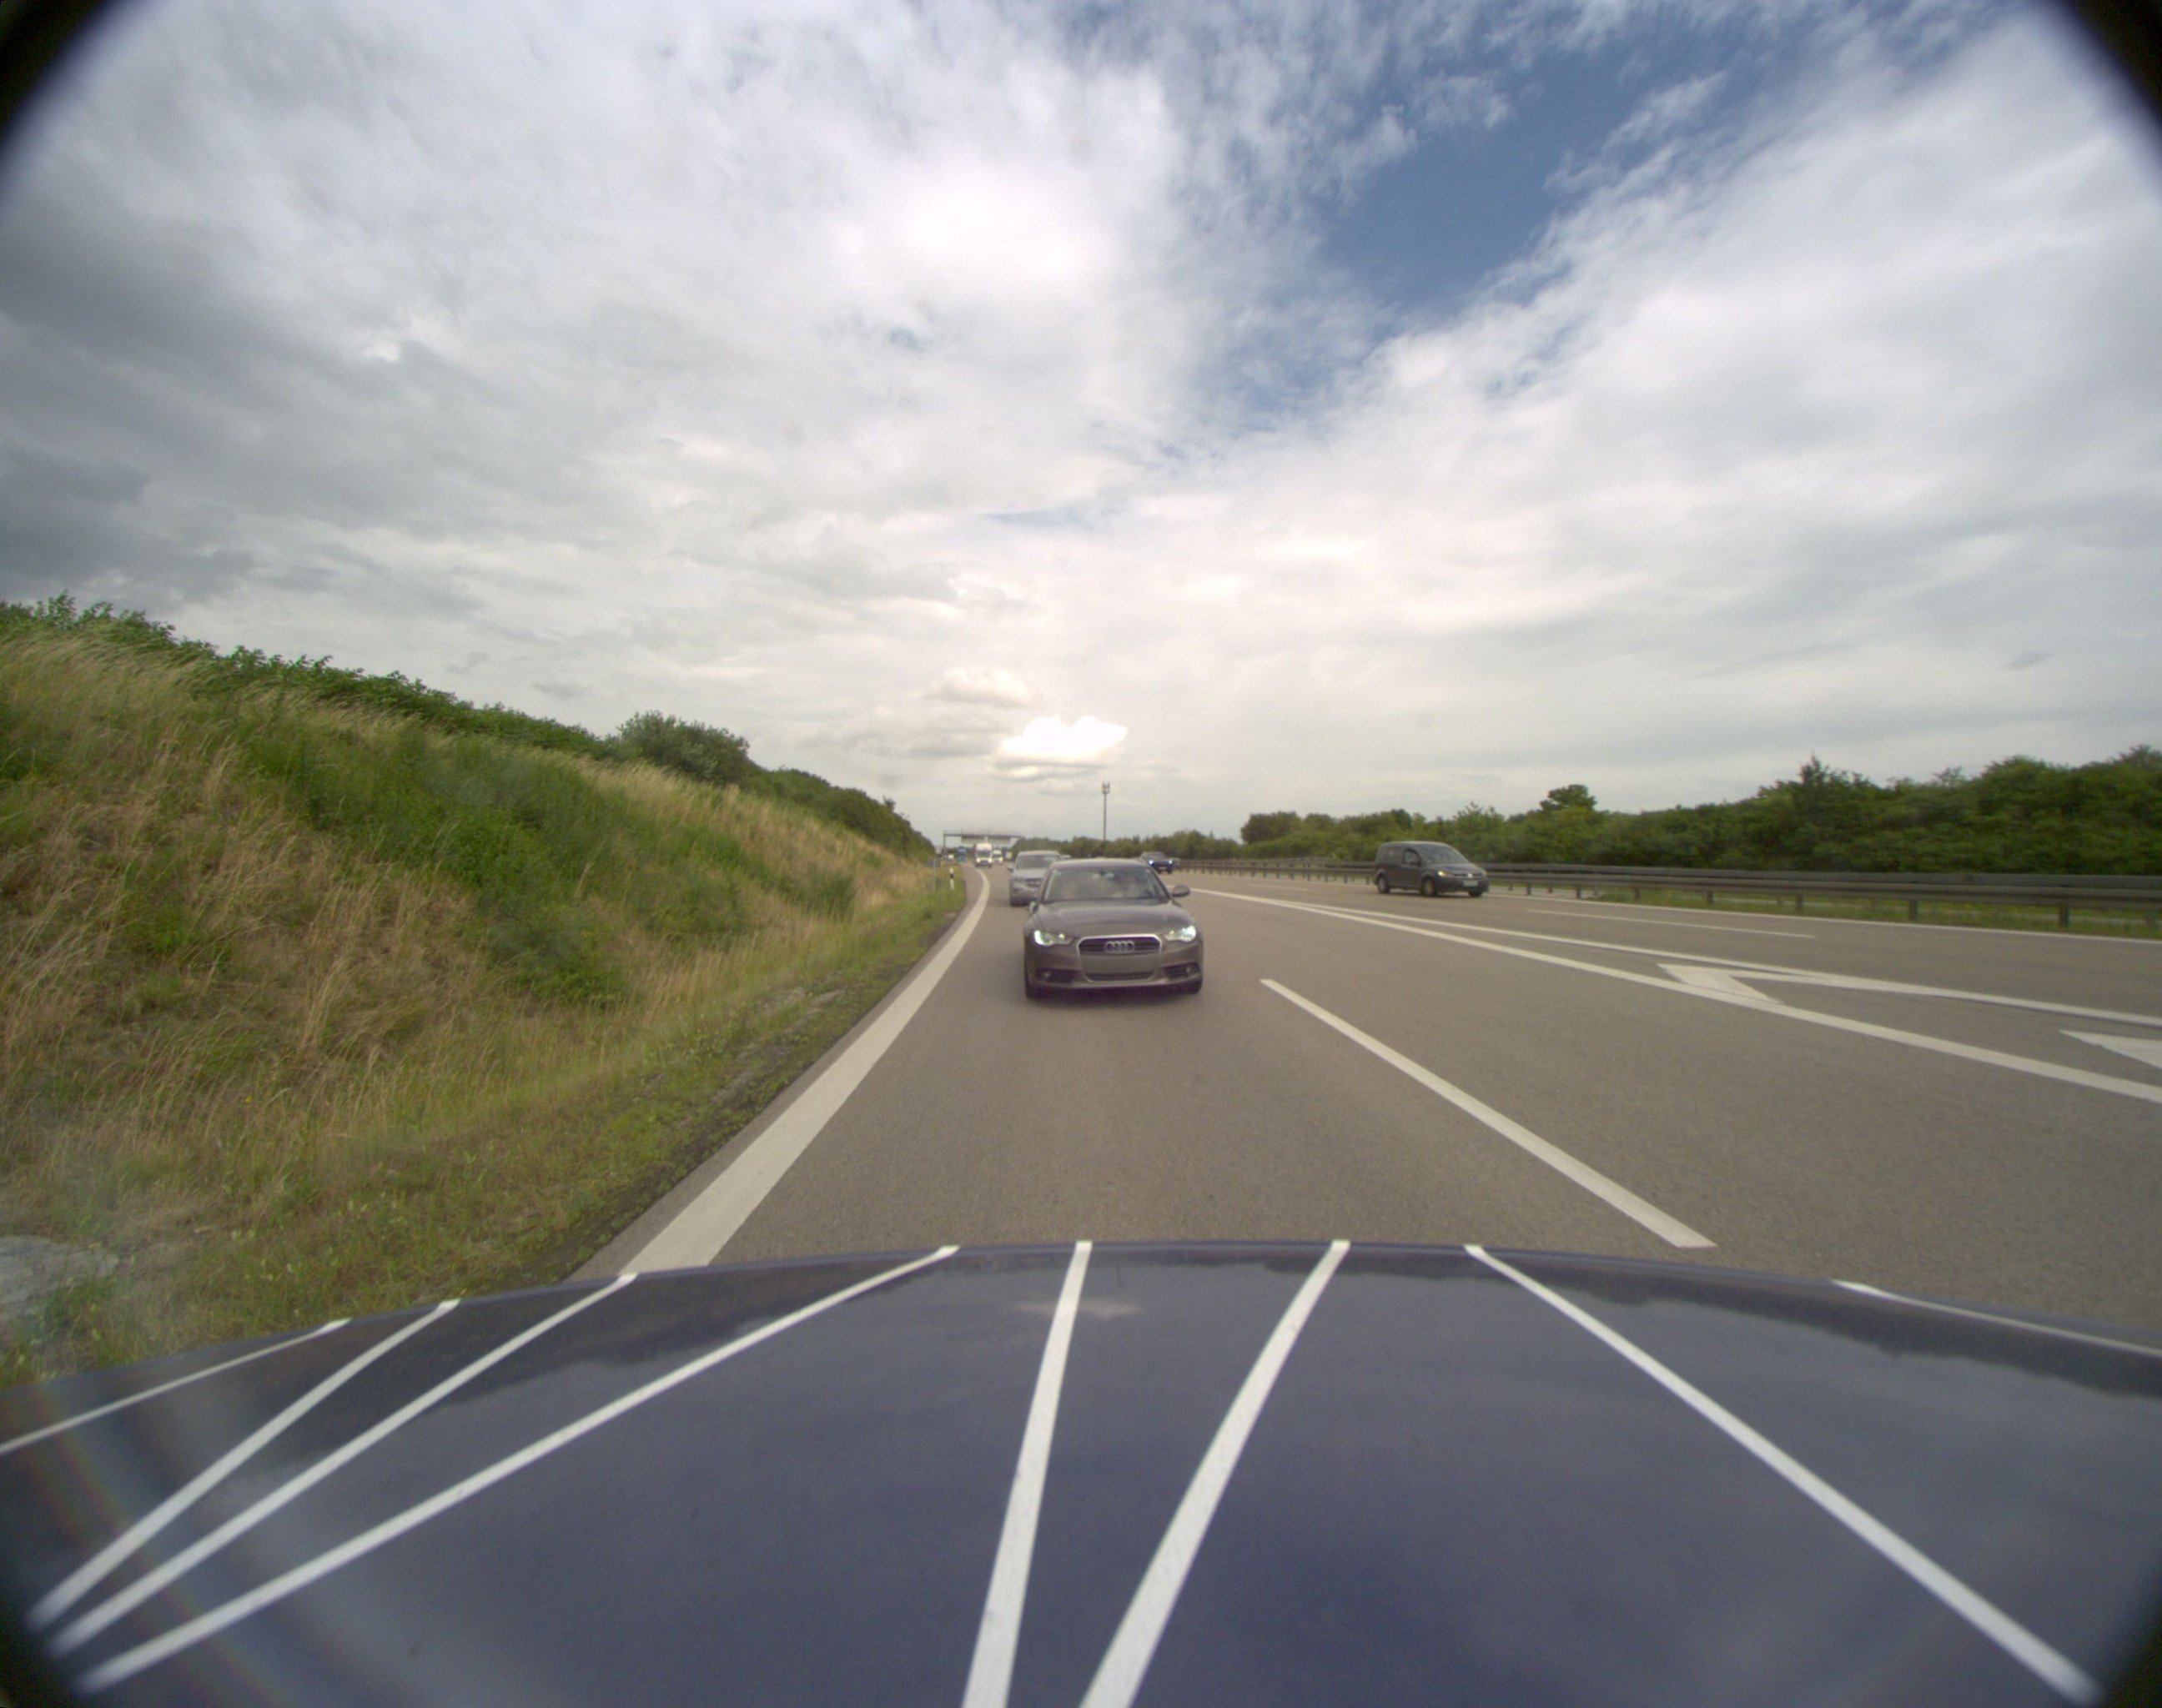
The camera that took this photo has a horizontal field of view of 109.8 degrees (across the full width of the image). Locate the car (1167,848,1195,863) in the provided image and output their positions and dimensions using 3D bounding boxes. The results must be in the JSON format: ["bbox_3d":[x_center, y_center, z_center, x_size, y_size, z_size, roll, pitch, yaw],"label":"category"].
[{"bbox_3d":[11.270,0.141,85.538,2.000,1.674,3.996,-1,0,-10],"label":"car"}]

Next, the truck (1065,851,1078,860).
[{"bbox_3d":[-2.042,0.271,163.354,2.000,2.002,4.715,-1,0,-8],"label":"truck"}]

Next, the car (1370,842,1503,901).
[{"bbox_3d":[11.464,0.525,24.875,1.851,1.748,4.332,-1,0,-9],"label":"car"}]

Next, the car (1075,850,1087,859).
[{"bbox_3d":[-0.093,0.087,172.905,2.000,2.002,3.996,-2,1,-10],"label":"car"}]

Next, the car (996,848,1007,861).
[{"bbox_3d":[-14.682,0.052,140.431,2.000,2.381,3.997,-2,1,-7],"label":"car"}]

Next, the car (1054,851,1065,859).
[{"bbox_3d":[-5.864,0.185,206.376,2.169,2.120,4.870,-1,0,-9],"label":"car"}]

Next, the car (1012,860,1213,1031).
[{"bbox_3d":[0.191,0.867,9.102,1.849,1.489,4.027,-1,0,-3],"label":"car"}]

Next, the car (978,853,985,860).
[{"bbox_3d":[-29.507,0.698,225.030,2.000,2.002,3.996,0,0,-9],"label":"car"}]

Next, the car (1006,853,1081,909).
[{"bbox_3d":[-1.252,0.761,23.584,2.000,1.567,3.997,-1,0,-8],"label":"car"}]

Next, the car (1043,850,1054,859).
[{"bbox_3d":[-9.132,0.134,213.232,2.169,2.317,6.671,-1,0,-9],"label":"car"}]

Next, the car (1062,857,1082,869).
[{"bbox_3d":[-1.214,1.174,103.597,2.000,1.501,4.774,0,0,-10],"label":"car"}]

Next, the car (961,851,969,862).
[{"bbox_3d":[-37.997,0.838,248.001,2.506,3.689,7.695,0,0,-9],"label":"car"}]

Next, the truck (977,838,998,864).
[{"bbox_3d":[-12.391,-0.370,100.145,2.450,3.216,7.185,-1,0,-9],"label":"truck"}]

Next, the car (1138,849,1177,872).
[{"bbox_3d":[5.999,0.497,60.072,2.000,1.733,4.825,0,0,-8],"label":"car"}]
